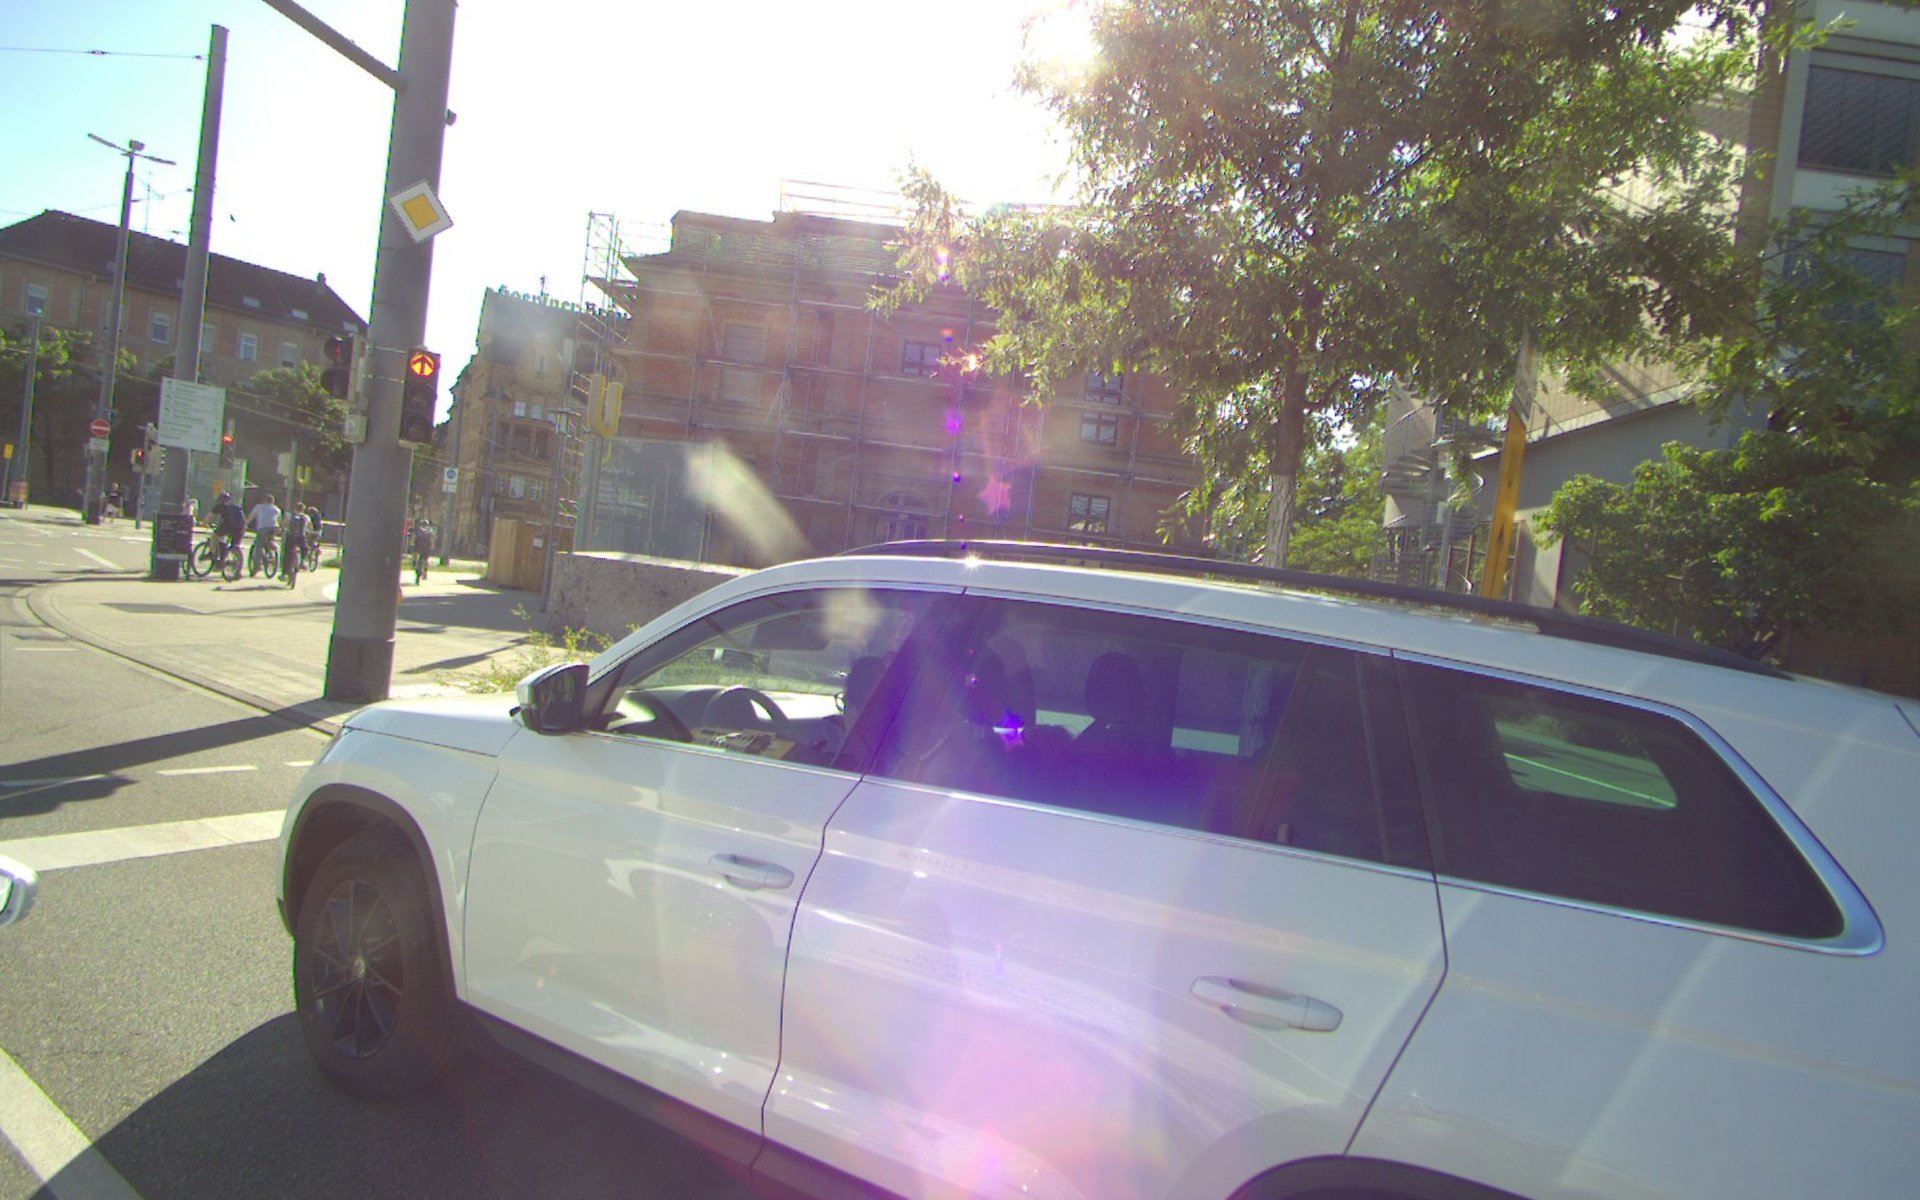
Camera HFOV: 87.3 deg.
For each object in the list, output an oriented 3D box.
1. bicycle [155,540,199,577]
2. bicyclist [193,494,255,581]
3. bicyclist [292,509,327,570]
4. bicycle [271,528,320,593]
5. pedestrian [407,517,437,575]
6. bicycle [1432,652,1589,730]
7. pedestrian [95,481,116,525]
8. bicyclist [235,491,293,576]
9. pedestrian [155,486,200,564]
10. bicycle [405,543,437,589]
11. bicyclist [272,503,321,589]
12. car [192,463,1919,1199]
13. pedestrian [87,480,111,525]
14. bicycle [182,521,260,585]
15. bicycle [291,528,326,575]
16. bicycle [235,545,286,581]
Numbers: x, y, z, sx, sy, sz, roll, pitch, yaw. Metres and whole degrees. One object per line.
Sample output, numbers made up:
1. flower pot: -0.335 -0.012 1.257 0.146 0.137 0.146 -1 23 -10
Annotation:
1. bicycle: -16.907 -0.905 21.703 0.535 0.664 1.703 3 3 -45
2. bicyclist: -15.076 -1.280 20.613 0.978 1.659 0.625 7 3 32
3. bicyclist: -17.914 -1.662 27.701 0.569 1.588 0.936 7 1 -38
4. bicycle: -13.495 -0.816 20.408 0.681 1.178 1.864 5 1 -36
5. pedestrian: -13.822 -1.397 25.853 0.510 1.421 0.955 4 3 -24
6. bicycle: 13.080 2.151 23.998 3.079 1.395 0.798 7 1 8
7. pedestrian: -41.385 -4.677 48.742 0.443 2.039 0.462 7 2 14
8. bicyclist: -15.795 -1.509 22.822 0.910 1.802 0.746 8 2 39
9. pedestrian: -16.821 -1.620 21.624 0.847 1.582 0.547 8 1 45
10. bicycle: -13.848 -0.888 25.854 0.510 1.058 1.757 5 2 -24
11. bicyclist: -13.442 -1.097 20.371 0.681 1.619 0.967 5 2 -36
12. car: 0.001 0.695 2.687 4.224 1.662 1.697 7 0 30
13. pedestrian: -41.123 -4.665 48.034 0.443 2.039 0.574 7 1 14
14. bicycle: -15.217 -0.975 20.695 1.820 1.128 0.625 7 3 33
15. bicycle: -17.948 -1.344 27.697 0.569 1.139 1.722 7 0 -38
16. bicycle: -15.926 -0.843 22.897 1.446 0.664 0.536 7 2 39
